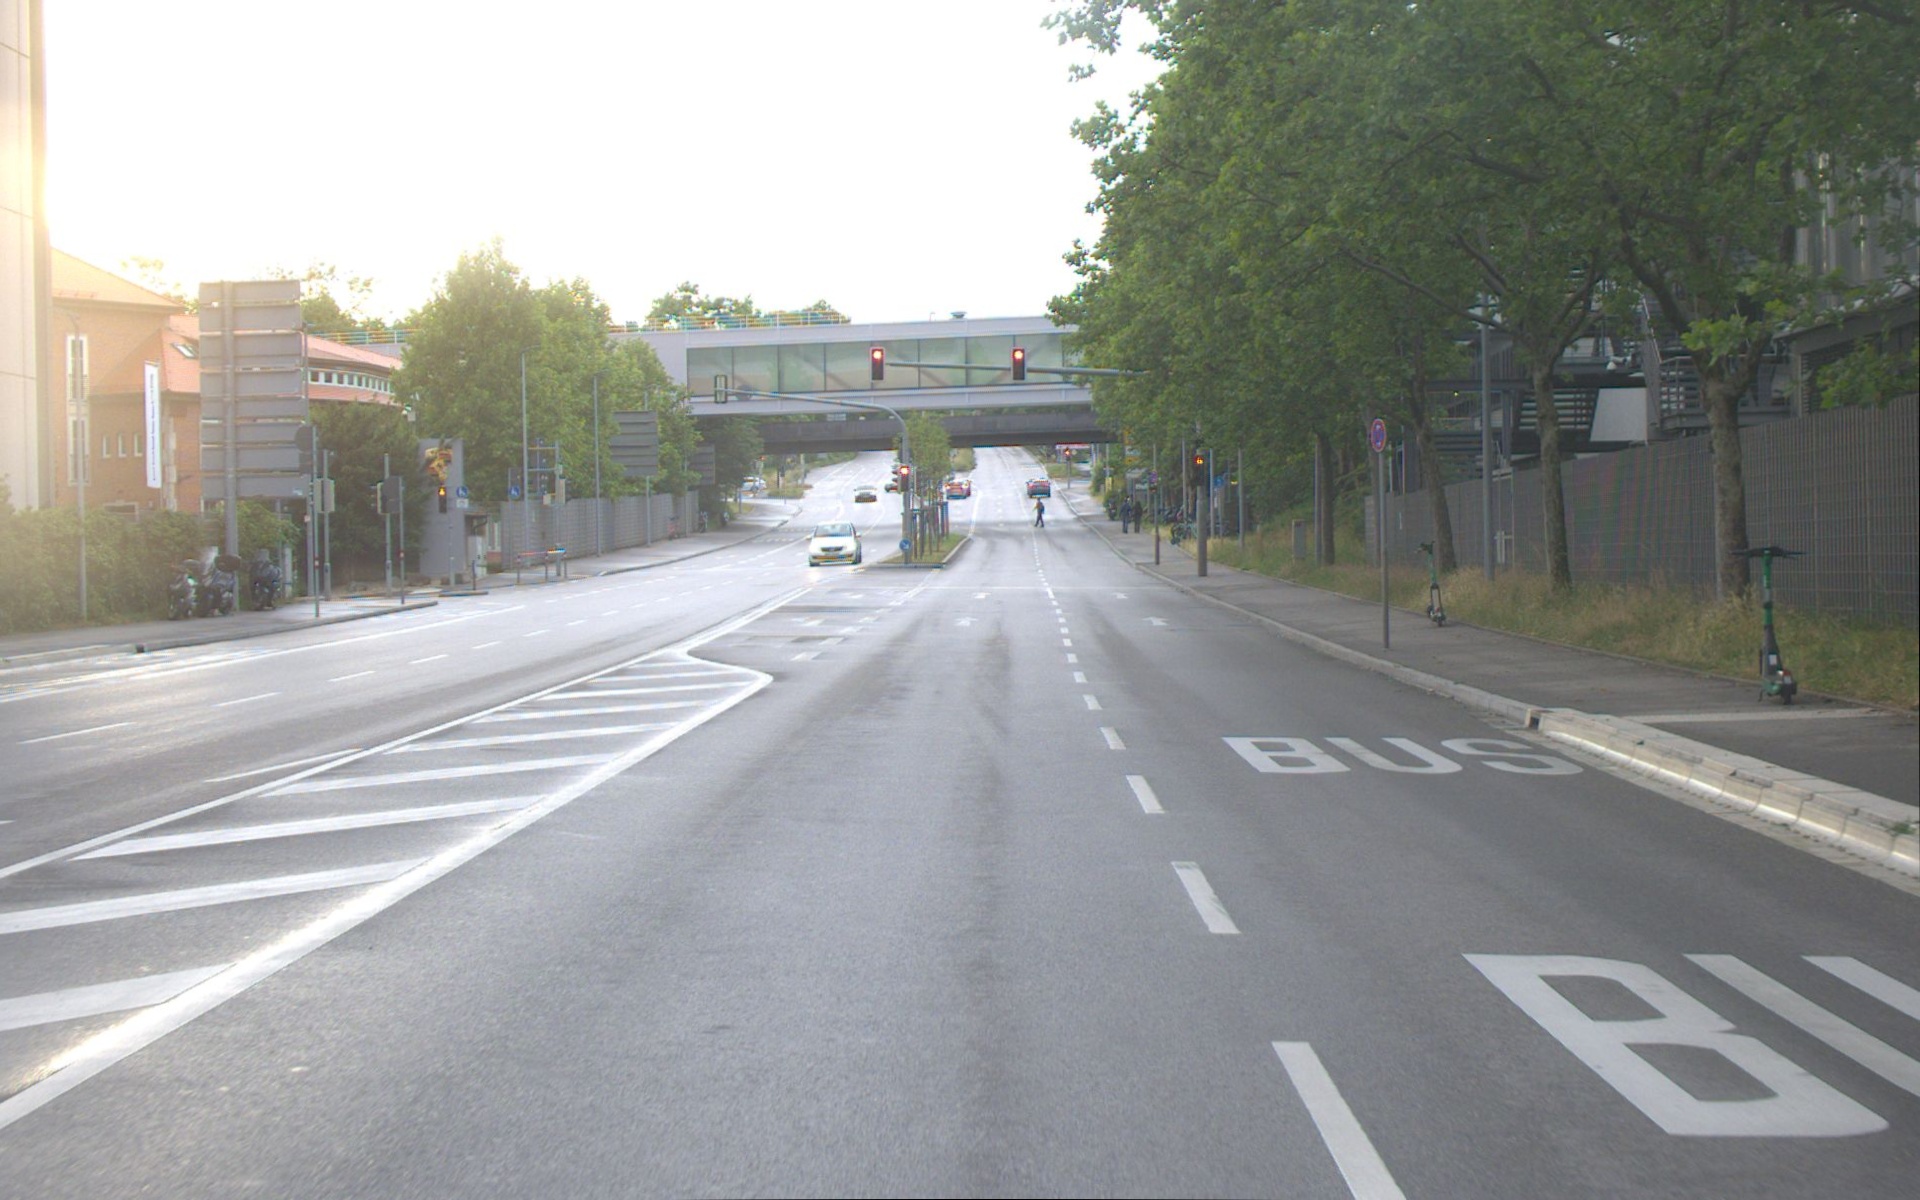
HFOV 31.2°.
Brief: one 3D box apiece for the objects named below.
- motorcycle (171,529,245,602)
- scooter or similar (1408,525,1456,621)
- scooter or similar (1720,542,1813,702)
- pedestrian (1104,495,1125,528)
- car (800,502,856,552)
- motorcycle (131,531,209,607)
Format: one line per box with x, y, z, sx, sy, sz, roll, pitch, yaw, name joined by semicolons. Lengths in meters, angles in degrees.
-16.503;-0.779;75.536;0.959;1.550;3.300;-1;1;-1;motorcycle
6.862;-0.404;50.044;0.609;1.361;1.921;-1;1;6;scooter or similar
6.568;0.160;28.053;0.699;1.240;1.920;-1;1;12;scooter or similar
9.504;-5.463;211.450;1.057;2.007;1.150;-1;1;12;pedestrian
-4.839;-2.682;125.958;1.993;1.766;4.001;-1;1;-3;car
-16.488;-0.660;71.852;0.913;1.527;3.300;-1;1;-1;motorcycle
